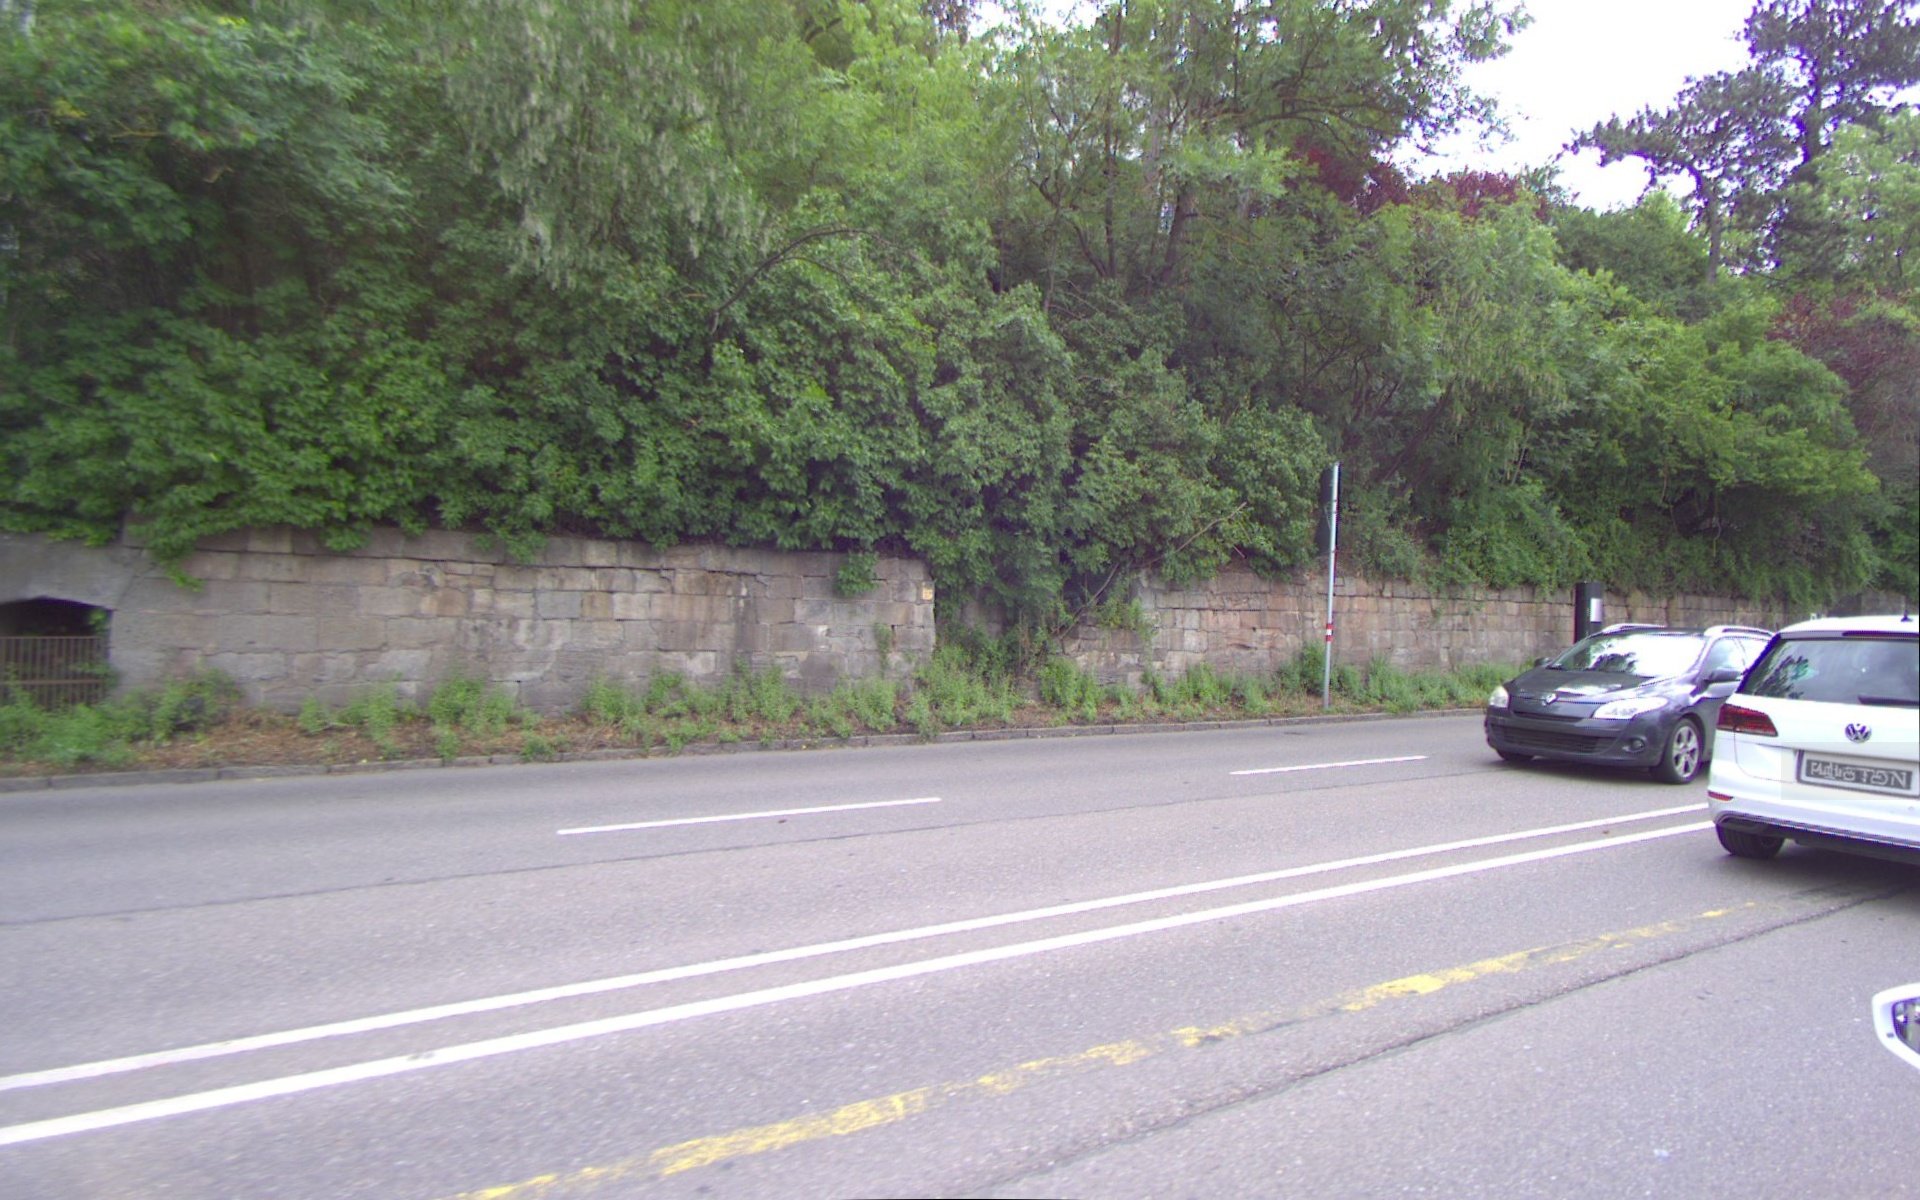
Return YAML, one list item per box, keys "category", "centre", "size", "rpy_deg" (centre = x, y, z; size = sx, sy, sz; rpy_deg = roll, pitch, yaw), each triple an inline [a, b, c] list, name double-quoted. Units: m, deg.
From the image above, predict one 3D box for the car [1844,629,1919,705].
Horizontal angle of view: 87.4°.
- category: "car"
  centre: [20.608, 1.412, 21.411]
  size: [3.481, 1.481, 1.576]
  rpy_deg: [2, 0, -29]

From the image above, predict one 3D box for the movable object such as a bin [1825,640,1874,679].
- category: "movable object such as a bin"
  centre: [25.085, 1.663, 28.335]
  size: [0.615, 1.048, 0.893]
  rpy_deg: [1, 0, -33]

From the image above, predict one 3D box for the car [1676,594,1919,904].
- category: "car"
  centre: [6.588, 0.810, 6.431]
  size: [4.226, 1.575, 1.711]
  rpy_deg: [2, 0, -31]

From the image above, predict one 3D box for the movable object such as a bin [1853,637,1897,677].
- category: "movable object such as a bin"
  centre: [26.376, 1.633, 28.967]
  size: [0.701, 1.085, 0.783]
  rpy_deg: [0, 0, -33]

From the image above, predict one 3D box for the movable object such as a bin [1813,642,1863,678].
- category: "movable object such as a bin"
  centre: [24.495, 1.674, 28.029]
  size: [0.587, 0.958, 0.911]
  rpy_deg: [1, 0, -33]

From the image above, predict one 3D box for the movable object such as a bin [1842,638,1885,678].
- category: "movable object such as a bin"
  centre: [25.736, 1.646, 28.617]
  size: [0.710, 1.076, 0.767]
  rpy_deg: [1, 0, -33]

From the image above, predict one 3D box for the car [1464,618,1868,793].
- category: "car"
  centre: [7.505, 0.996, 10.614]
  size: [4.244, 1.465, 1.848]
  rpy_deg: [2, 0, -30]
